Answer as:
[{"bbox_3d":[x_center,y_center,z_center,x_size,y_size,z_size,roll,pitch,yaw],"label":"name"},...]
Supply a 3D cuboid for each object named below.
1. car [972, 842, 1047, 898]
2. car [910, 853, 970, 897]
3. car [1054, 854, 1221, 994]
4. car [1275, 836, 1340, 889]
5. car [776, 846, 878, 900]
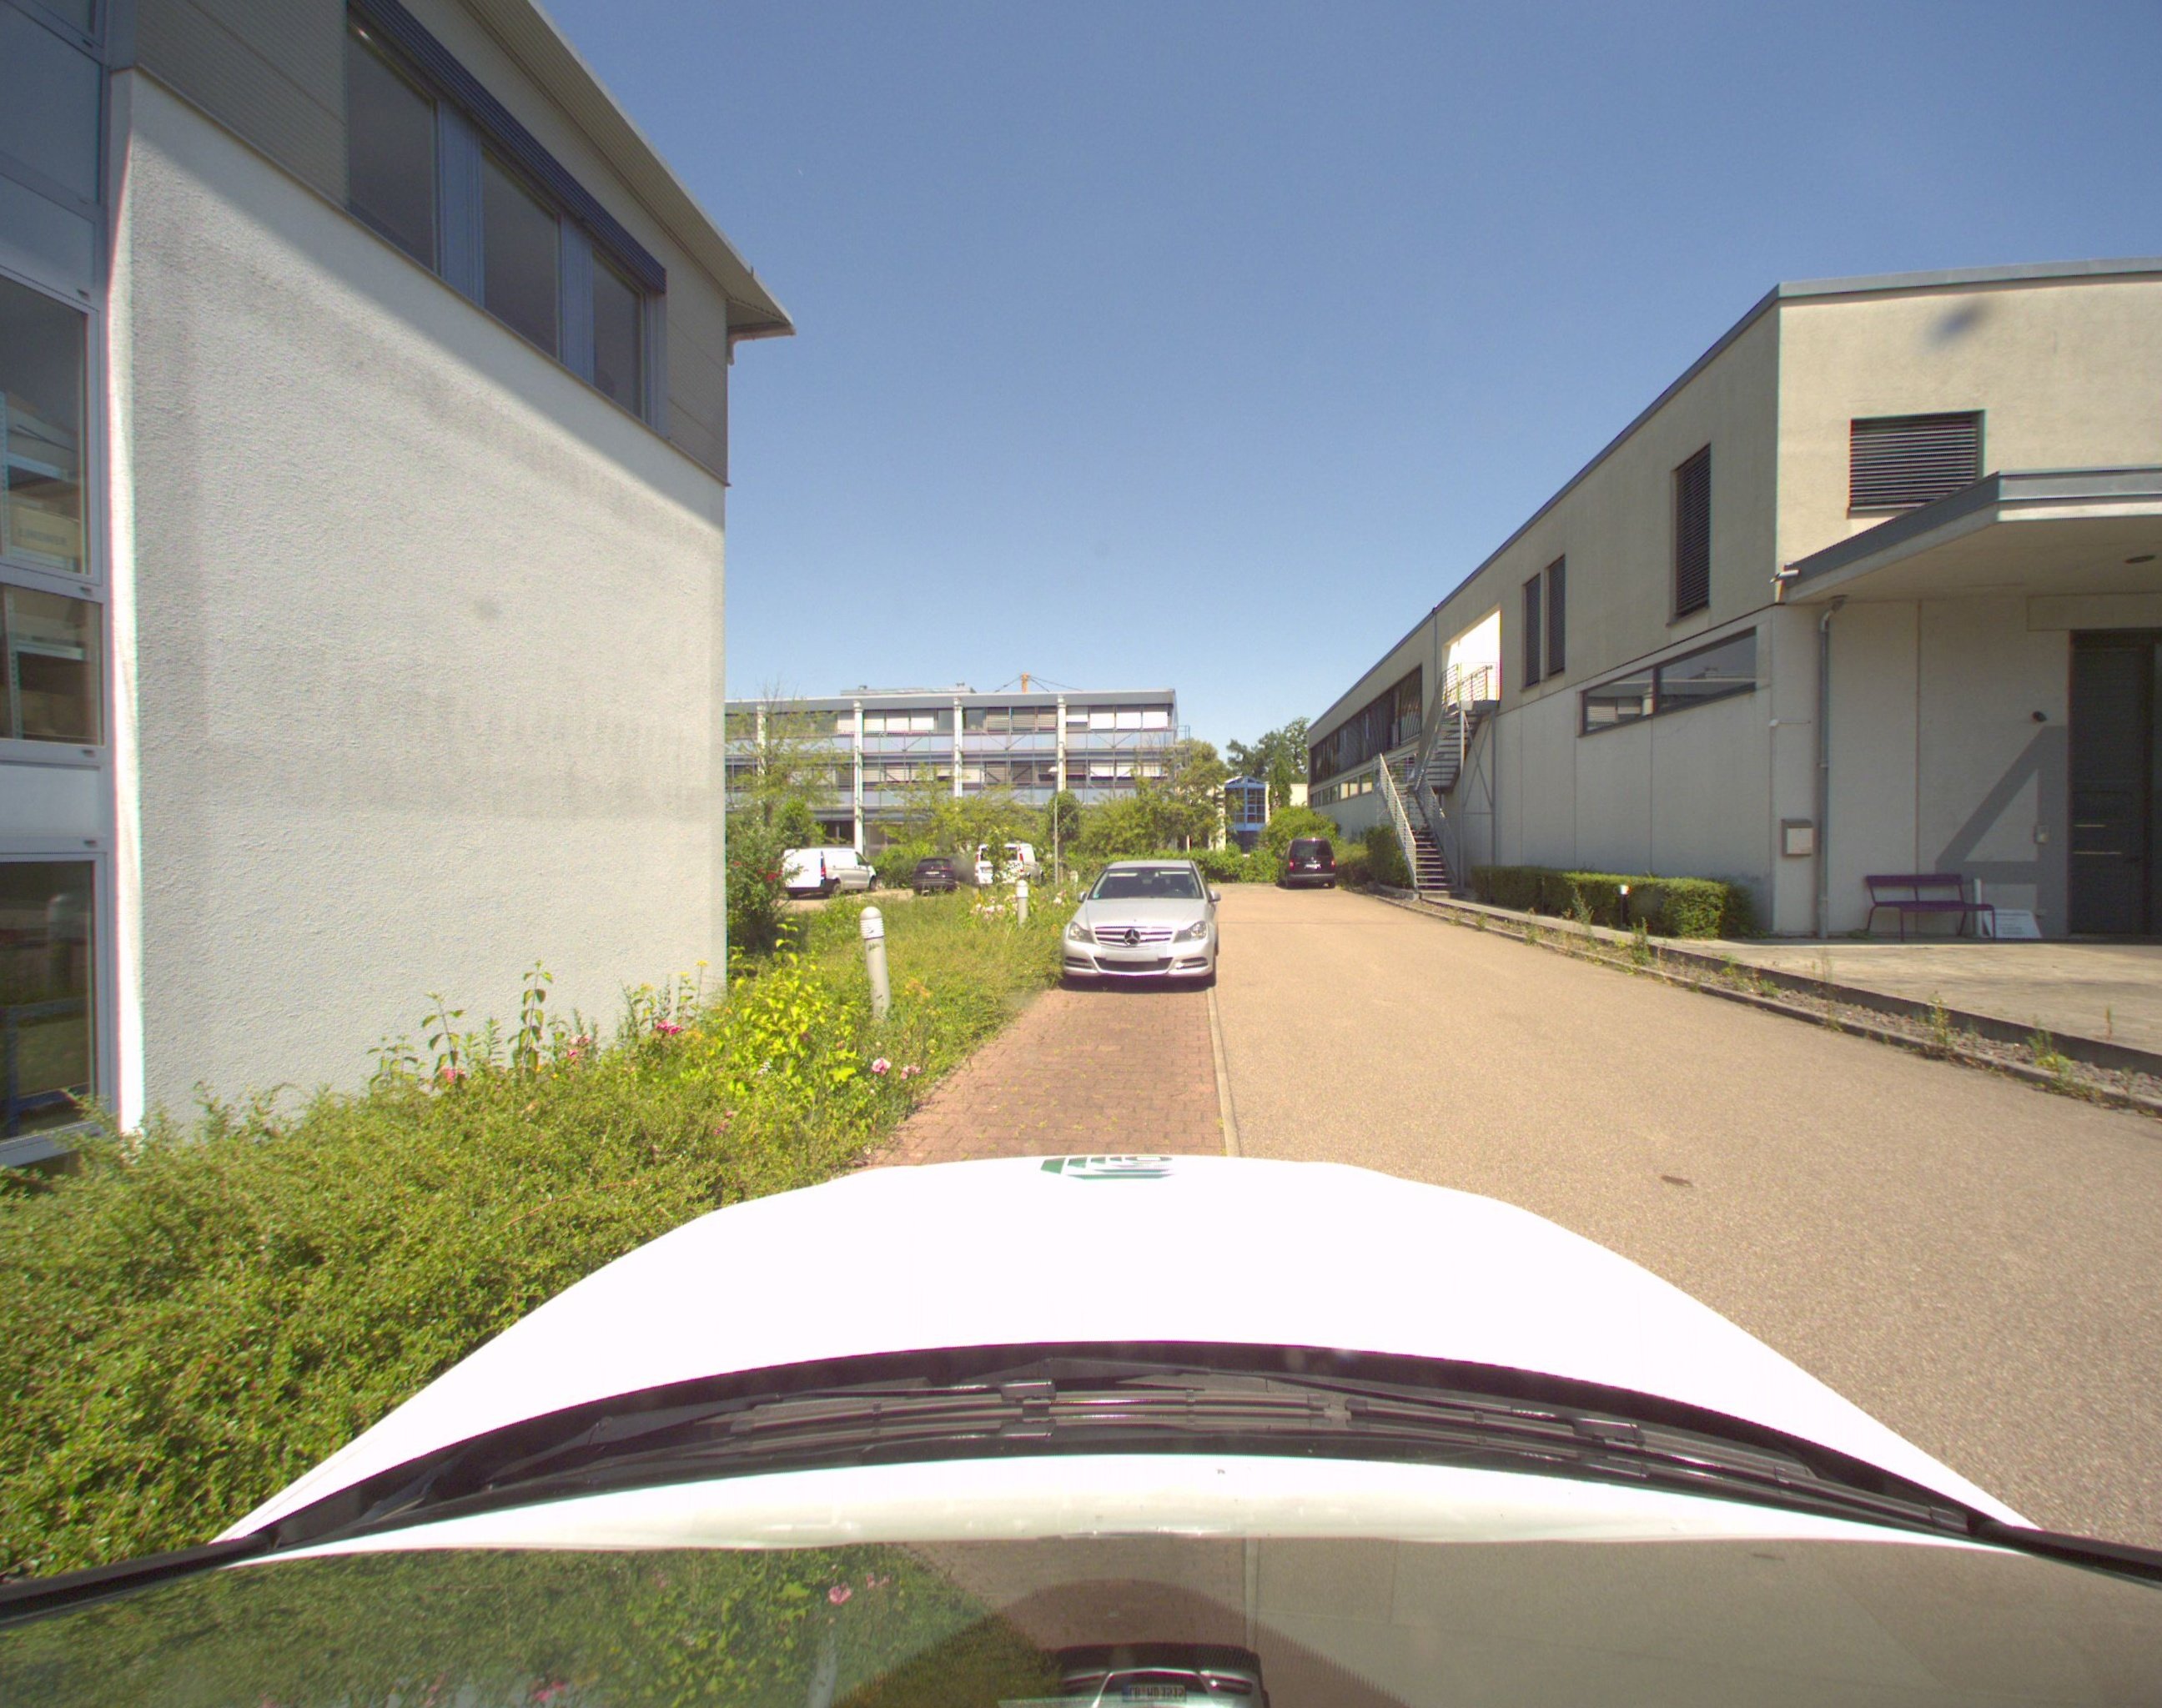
[{"bbox_3d":[-2.640,0.527,31.313,1.903,1.905,4.816,-2,1,6],"label":"car"},{"bbox_3d":[-5.483,0.779,32.080,1.750,1.476,3.997,-2,1,-2],"label":"car"},{"bbox_3d":[0.941,0.753,10.720,1.718,1.457,4.159,-1,0,10],"label":"car"},{"bbox_3d":[8.473,0.293,30.769,1.734,1.837,4.008,-1,0,7],"label":"car"},{"bbox_3d":[-9.848,0.684,32.070,1.871,1.891,4.816,-1,1,9],"label":"car"}]
